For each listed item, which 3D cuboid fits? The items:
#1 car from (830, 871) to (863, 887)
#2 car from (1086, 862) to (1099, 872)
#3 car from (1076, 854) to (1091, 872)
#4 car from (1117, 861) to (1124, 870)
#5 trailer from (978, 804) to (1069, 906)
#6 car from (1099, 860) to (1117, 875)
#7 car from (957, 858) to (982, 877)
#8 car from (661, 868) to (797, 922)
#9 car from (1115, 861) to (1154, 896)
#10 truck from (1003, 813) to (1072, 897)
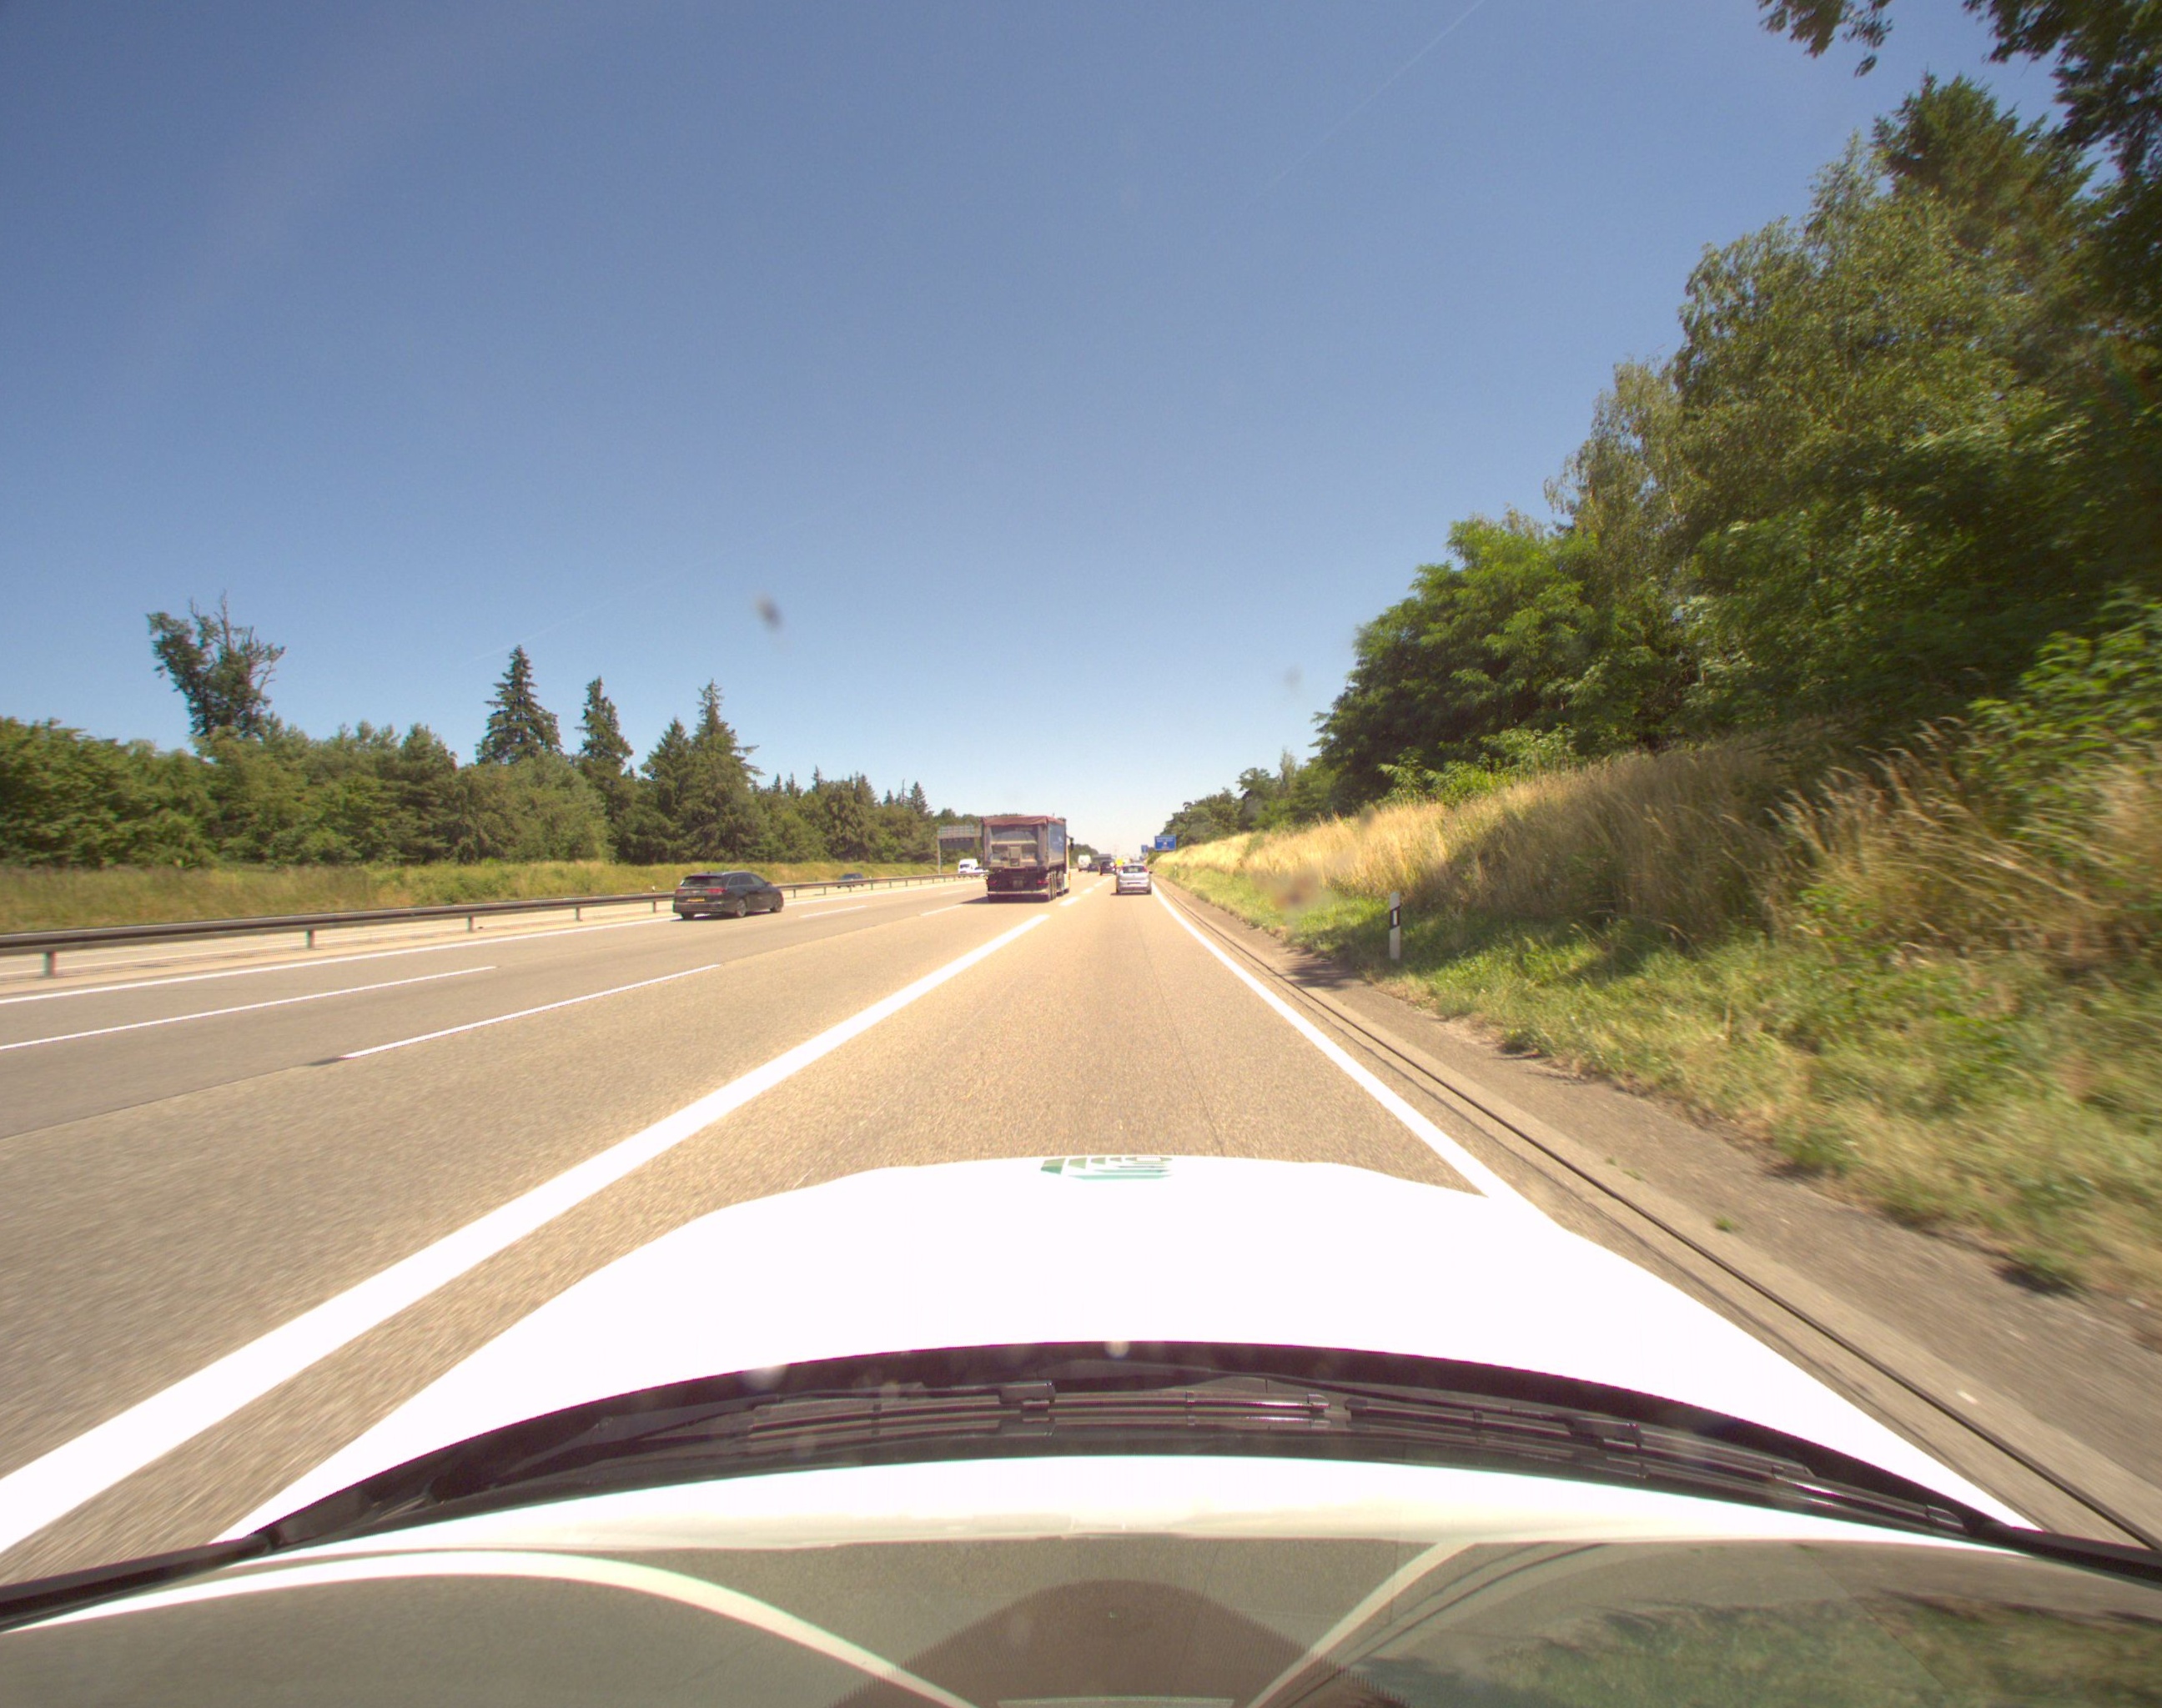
[{"bbox_3d":[-23.976,2.526,83.539,1.684,1.391,4.680,-4,0,4],"label":"car"},{"bbox_3d":[1.767,1.990,124.516,1.886,1.469,4.264,0,0,2],"label":"car"},{"bbox_3d":[0.389,1.571,139.715,2.250,2.951,6.118,0,0,3],"label":"car"},{"bbox_3d":[8.665,2.456,179.663,1.605,2.014,4.003,0,0,3],"label":"car"},{"bbox_3d":[-2.226,0.051,35.026,2.725,3.758,9.116,-1,0,3],"label":"trailer"},{"bbox_3d":[3.155,1.536,94.938,1.823,1.672,4.005,0,-1,5],"label":"car"},{"bbox_3d":[-17.171,2.050,125.433,2.333,2.711,6.880,-4,0,4],"label":"car"},{"bbox_3d":[-10.978,1.212,25.876,1.824,1.431,5.005,-1,0,4],"label":"car"},{"bbox_3d":[2.518,1.131,38.893,1.713,1.491,3.739,-1,0,2],"label":"car"},{"bbox_3d":[-1.993,0.035,39.925,2.673,3.758,5.948,-1,0,3],"label":"truck"}]
